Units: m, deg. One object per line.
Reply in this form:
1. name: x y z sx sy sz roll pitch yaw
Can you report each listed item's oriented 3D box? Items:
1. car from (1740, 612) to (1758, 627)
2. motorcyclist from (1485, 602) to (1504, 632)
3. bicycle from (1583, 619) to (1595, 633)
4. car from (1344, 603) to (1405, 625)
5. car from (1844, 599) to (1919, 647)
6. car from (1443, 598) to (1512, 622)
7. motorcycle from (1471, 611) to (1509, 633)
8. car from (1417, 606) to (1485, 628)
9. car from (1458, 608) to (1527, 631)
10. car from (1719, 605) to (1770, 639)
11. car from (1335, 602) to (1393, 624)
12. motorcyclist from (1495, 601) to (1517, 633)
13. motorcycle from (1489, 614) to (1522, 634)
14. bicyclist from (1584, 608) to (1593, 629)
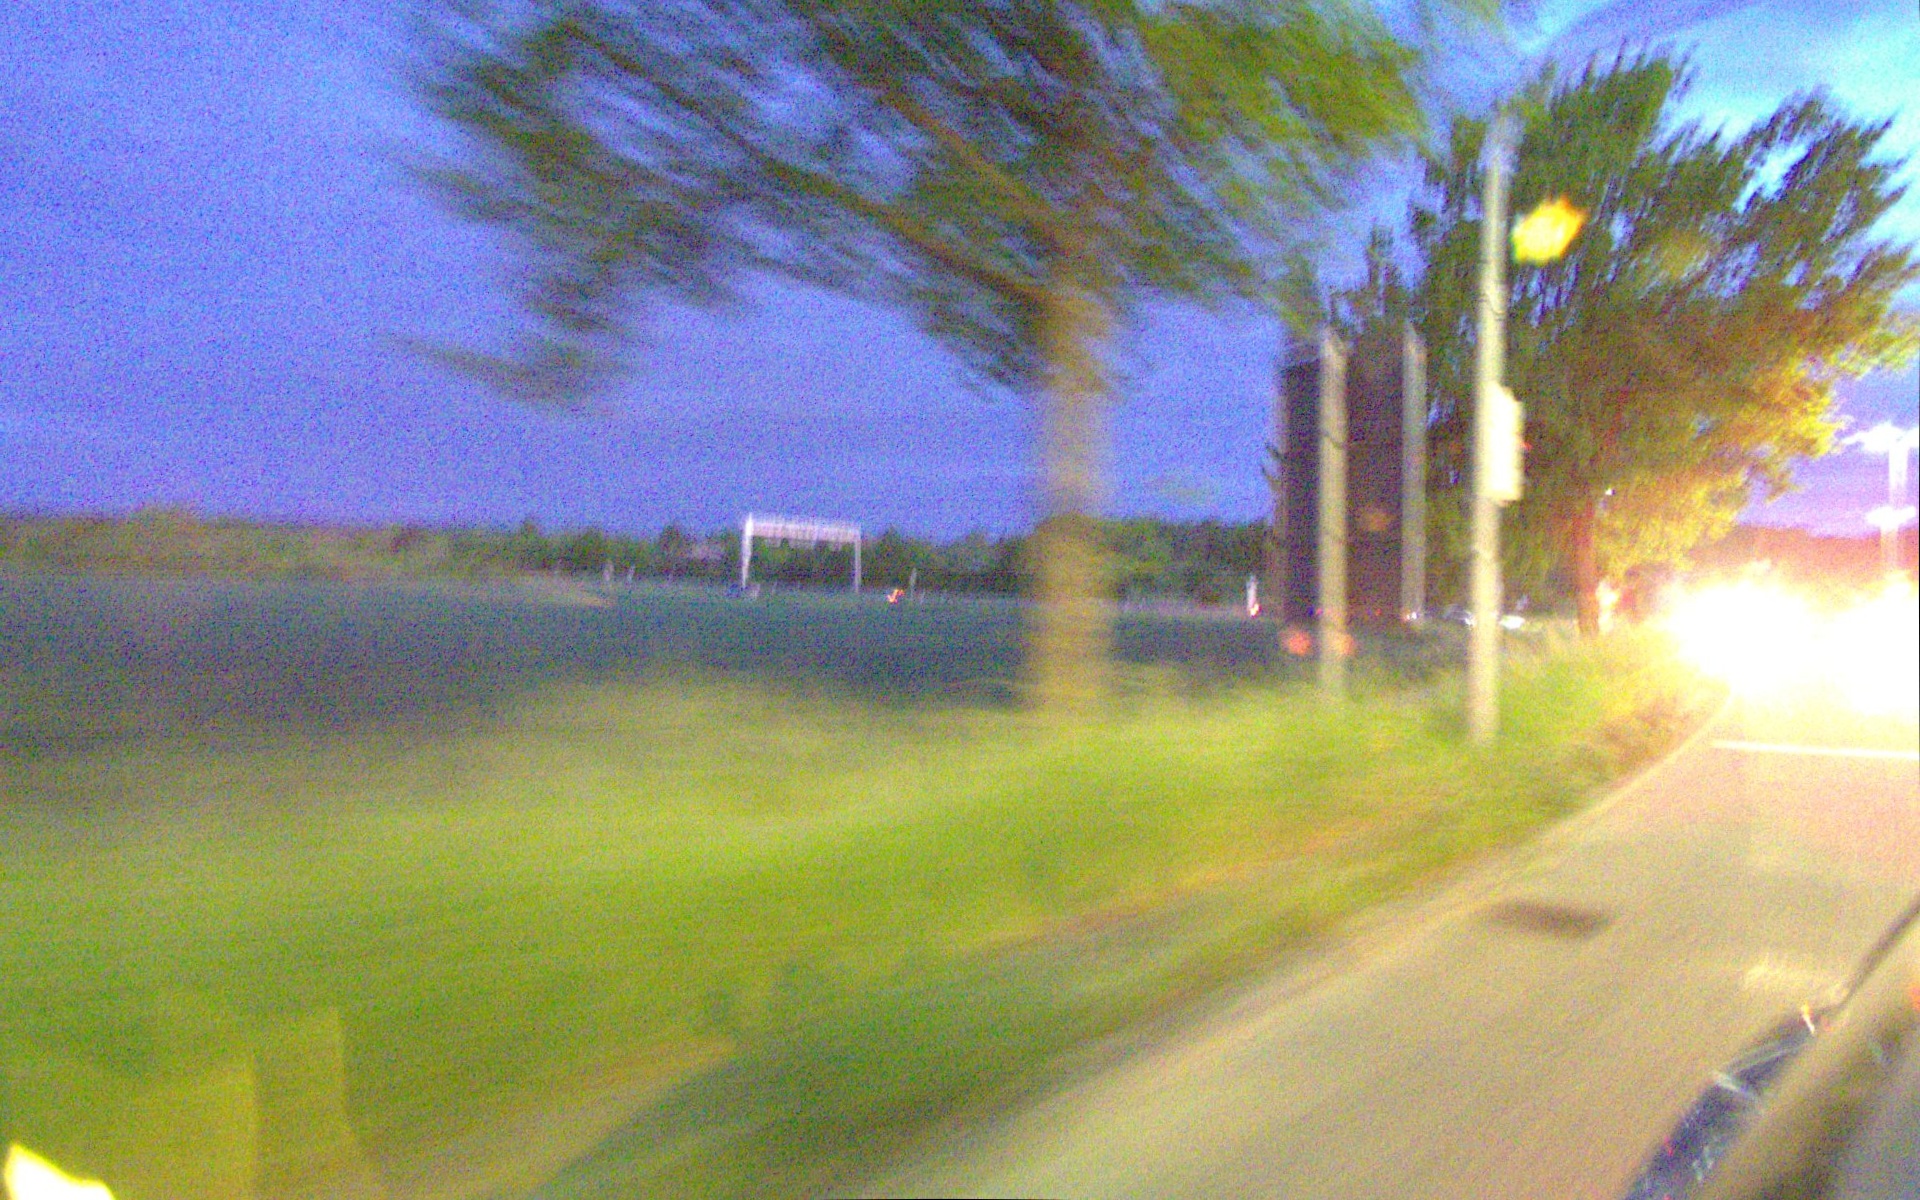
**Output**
1. car: 93.998 2.306 120.538 1.691 1.617 3.868 0 -3 39
2. motorcyclist: 32.628 1.029 61.823 0.776 1.781 0.683 -2 1 5
3. bicycle: 50.548 2.076 81.318 0.690 1.115 2.042 1 -1 34
4. car: 34.281 1.136 83.754 4.346 1.647 1.724 2 -1 42
5. car: 34.777 0.839 38.093 1.660 1.674 4.355 -3 -2 34
6. car: 40.106 0.778 78.505 4.403 1.704 1.885 2 -1 42
7. motorcycle: 32.382 1.347 61.868 1.789 1.196 0.849 -2 1 5
8. car: 37.104 1.275 76.499 4.275 1.464 1.758 2 -1 43
9. car: 42.604 1.573 80.977 4.566 1.654 1.830 2 -1 41
10. car: 36.376 0.992 46.998 1.660 1.499 3.728 0 -1 35
11. car: 32.243 1.028 80.787 3.983 1.544 1.810 2 0 41
12. motorcyclist: 32.820 1.041 60.874 0.856 1.831 0.914 -3 1 11
13. motorcycle: 32.832 1.447 60.888 1.552 1.046 0.721 -3 1 11
14. bicyclist: 50.485 1.498 81.273 0.600 1.672 0.987 1 -2 35
